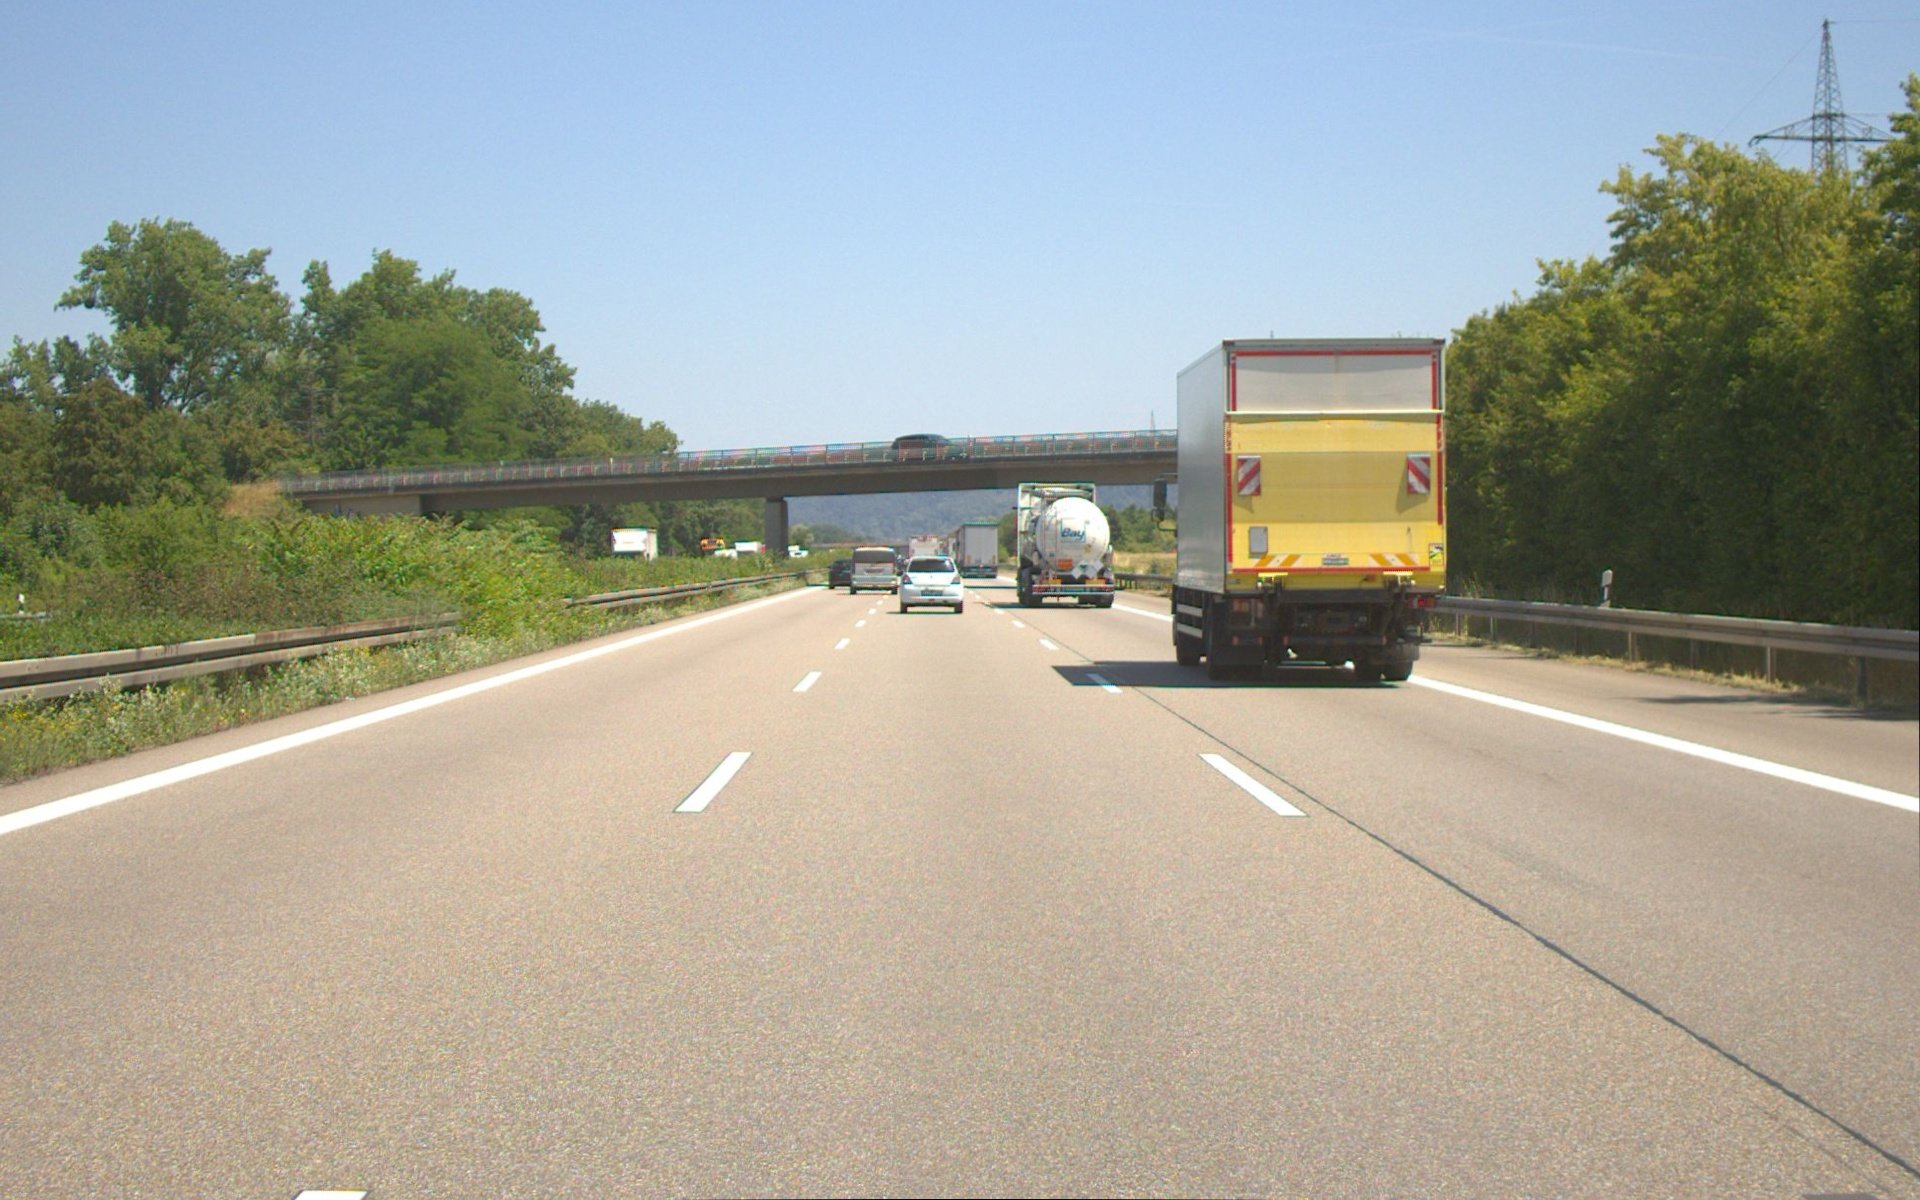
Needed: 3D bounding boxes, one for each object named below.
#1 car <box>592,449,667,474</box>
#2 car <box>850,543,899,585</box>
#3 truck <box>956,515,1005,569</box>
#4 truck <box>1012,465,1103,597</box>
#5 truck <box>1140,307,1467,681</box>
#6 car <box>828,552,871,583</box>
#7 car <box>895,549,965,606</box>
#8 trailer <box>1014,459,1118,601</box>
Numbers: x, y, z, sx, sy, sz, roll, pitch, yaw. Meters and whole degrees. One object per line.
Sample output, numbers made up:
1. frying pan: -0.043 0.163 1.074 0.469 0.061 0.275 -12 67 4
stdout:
1. car: -19.014 -7.954 197.785 3.995 1.382 1.838 2 1 34
2. car: -3.423 -1.441 137.891 1.852 1.627 4.000 1 1 0
3. truck: 1.482 -4.325 255.407 3.265 3.844 11.632 1 1 -1
4. truck: 3.093 -2.197 110.321 2.573 4.058 6.393 1 1 -1
5. truck: 4.171 -1.278 44.278 2.933 4.185 10.682 1 1 -1
6. car: -5.130 -1.502 159.852 1.835 1.382 4.000 1 1 0
7. car: -0.798 -0.615 92.350 1.806 1.463 4.000 1 1 0
8. trailer: 3.172 -2.121 105.447 2.580 4.060 11.104 1 1 -1
